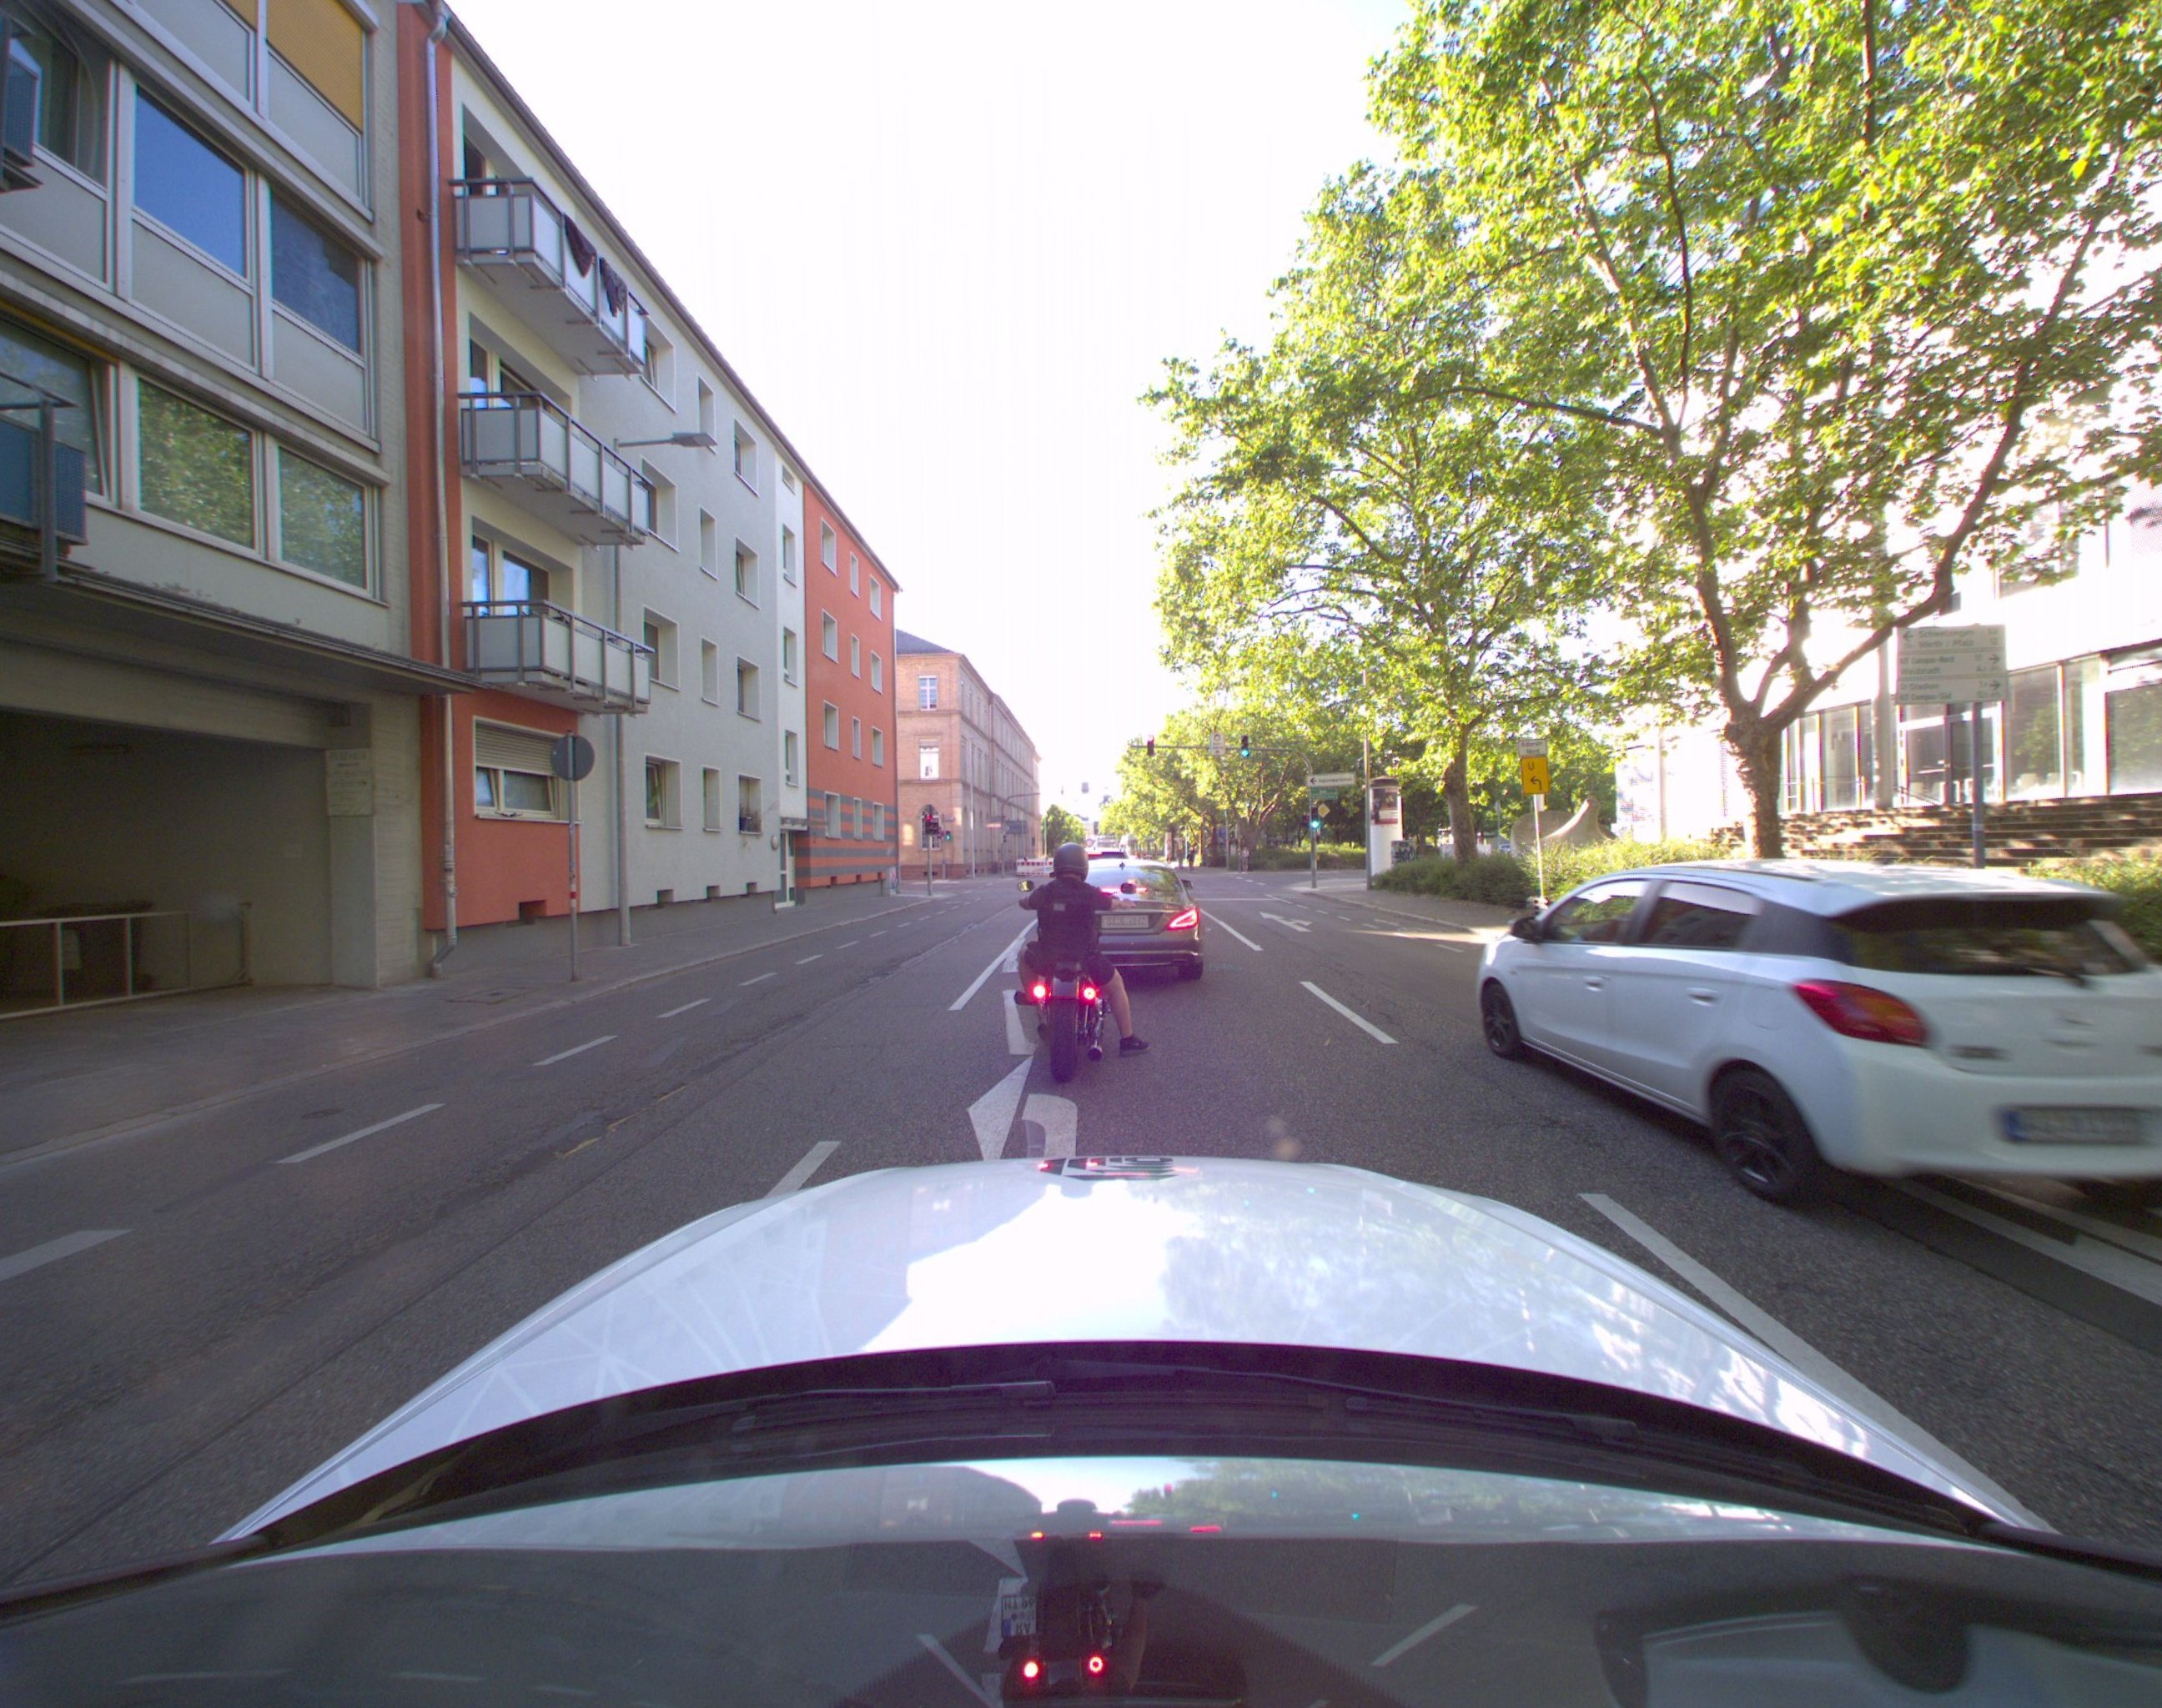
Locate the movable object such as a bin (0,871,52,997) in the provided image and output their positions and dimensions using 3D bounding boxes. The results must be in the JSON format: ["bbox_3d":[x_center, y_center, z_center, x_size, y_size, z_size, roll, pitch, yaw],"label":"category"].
[{"bbox_3d":[-12.921,0.928,9.155,1.313,1.414,1.080,-1,0,1],"label":"movable object such as a bin"}]

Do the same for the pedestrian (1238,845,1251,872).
[{"bbox_3d":[10.807,0.317,53.842,0.574,1.774,0.619,1,-1,-33],"label":"pedestrian"}]

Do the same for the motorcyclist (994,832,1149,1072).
[{"bbox_3d":[-0.042,0.660,6.207,1.008,1.602,1.406,-1,0,1],"label":"motorcyclist"}]

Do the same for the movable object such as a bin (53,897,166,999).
[{"bbox_3d":[-11.187,1.068,9.398,0.487,1.088,0.654,-1,0,2],"label":"movable object such as a bin"}]

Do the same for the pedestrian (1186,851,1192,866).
[{"bbox_3d":[11.365,0.486,85.820,0.590,1.578,0.527,0,-1,2],"label":"pedestrian"}]

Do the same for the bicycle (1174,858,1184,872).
[{"bbox_3d":[8.335,0.917,69.129,0.653,1.111,2.186,0,0,2],"label":"bicycle"}]

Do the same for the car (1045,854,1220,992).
[{"bbox_3d":[0.600,0.730,10.511,1.821,1.420,3.816,-1,0,2],"label":"car"}]

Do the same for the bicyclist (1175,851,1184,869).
[{"bbox_3d":[8.333,0.487,69.109,0.653,1.530,0.906,0,-1,1],"label":"bicyclist"}]

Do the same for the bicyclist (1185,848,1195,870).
[{"bbox_3d":[7.926,0.361,59.416,0.653,1.530,0.852,0,-1,1],"label":"bicyclist"}]

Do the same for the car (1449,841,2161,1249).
[{"bbox_3d":[3.787,0.712,4.856,1.672,1.498,3.687,0,0,2],"label":"car"}]

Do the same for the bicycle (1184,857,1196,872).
[{"bbox_3d":[7.939,0.758,59.314,0.653,1.070,1.927,0,0,2],"label":"bicycle"}]

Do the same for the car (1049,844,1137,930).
[{"bbox_3d":[0.163,0.646,17.692,1.626,1.650,3.845,0,0,-4],"label":"car"}]

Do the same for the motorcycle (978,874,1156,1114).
[{"bbox_3d":[-0.041,0.848,6.087,1.008,1.306,2.673,-1,0,2],"label":"motorcycle"}]
